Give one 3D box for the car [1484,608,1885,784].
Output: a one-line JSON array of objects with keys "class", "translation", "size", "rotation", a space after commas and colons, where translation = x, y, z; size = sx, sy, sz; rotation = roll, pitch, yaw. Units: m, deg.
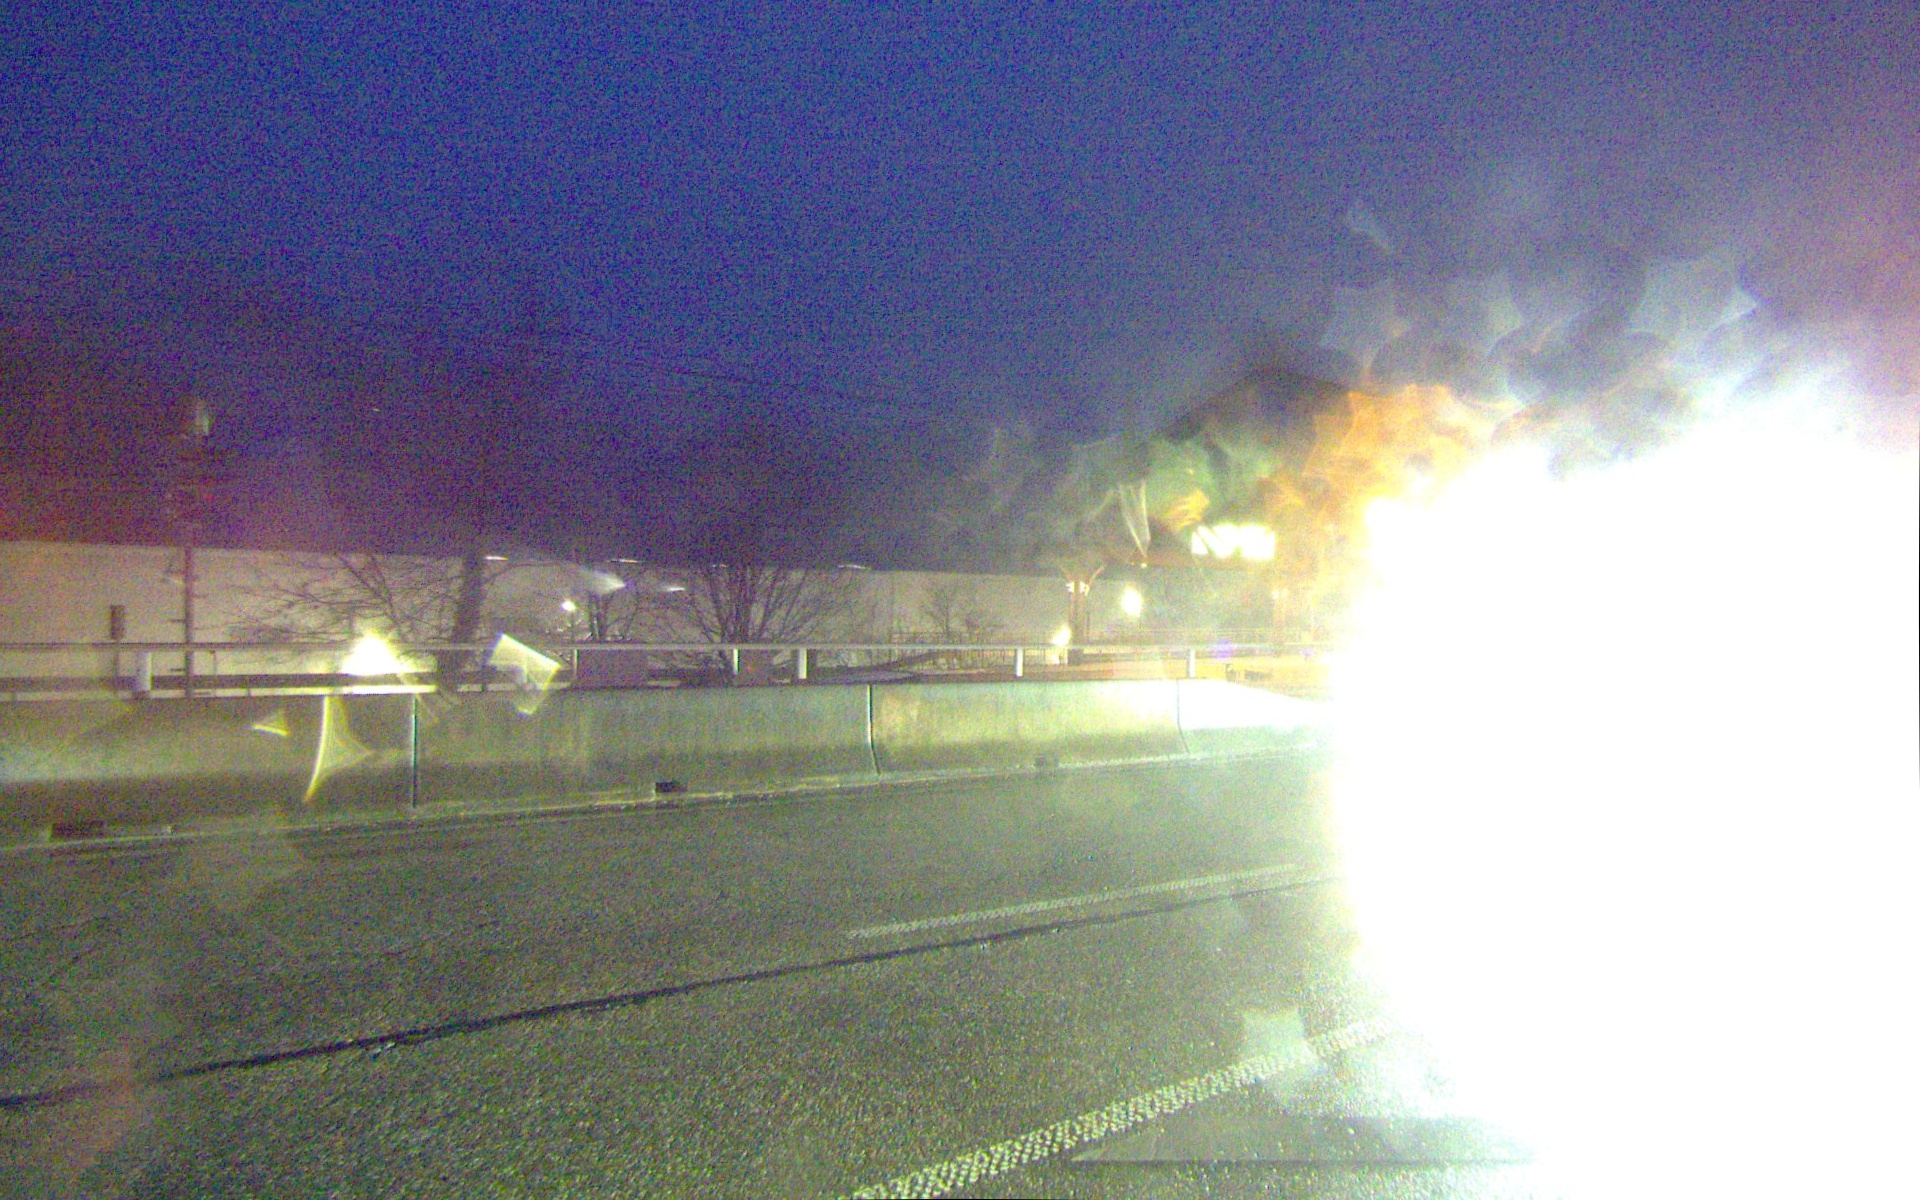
[{"class": "car", "translation": [8.111, 0.906, 11.192], "size": [4.428, 1.589, 1.880], "rotation": [0, 0, -28]}]
